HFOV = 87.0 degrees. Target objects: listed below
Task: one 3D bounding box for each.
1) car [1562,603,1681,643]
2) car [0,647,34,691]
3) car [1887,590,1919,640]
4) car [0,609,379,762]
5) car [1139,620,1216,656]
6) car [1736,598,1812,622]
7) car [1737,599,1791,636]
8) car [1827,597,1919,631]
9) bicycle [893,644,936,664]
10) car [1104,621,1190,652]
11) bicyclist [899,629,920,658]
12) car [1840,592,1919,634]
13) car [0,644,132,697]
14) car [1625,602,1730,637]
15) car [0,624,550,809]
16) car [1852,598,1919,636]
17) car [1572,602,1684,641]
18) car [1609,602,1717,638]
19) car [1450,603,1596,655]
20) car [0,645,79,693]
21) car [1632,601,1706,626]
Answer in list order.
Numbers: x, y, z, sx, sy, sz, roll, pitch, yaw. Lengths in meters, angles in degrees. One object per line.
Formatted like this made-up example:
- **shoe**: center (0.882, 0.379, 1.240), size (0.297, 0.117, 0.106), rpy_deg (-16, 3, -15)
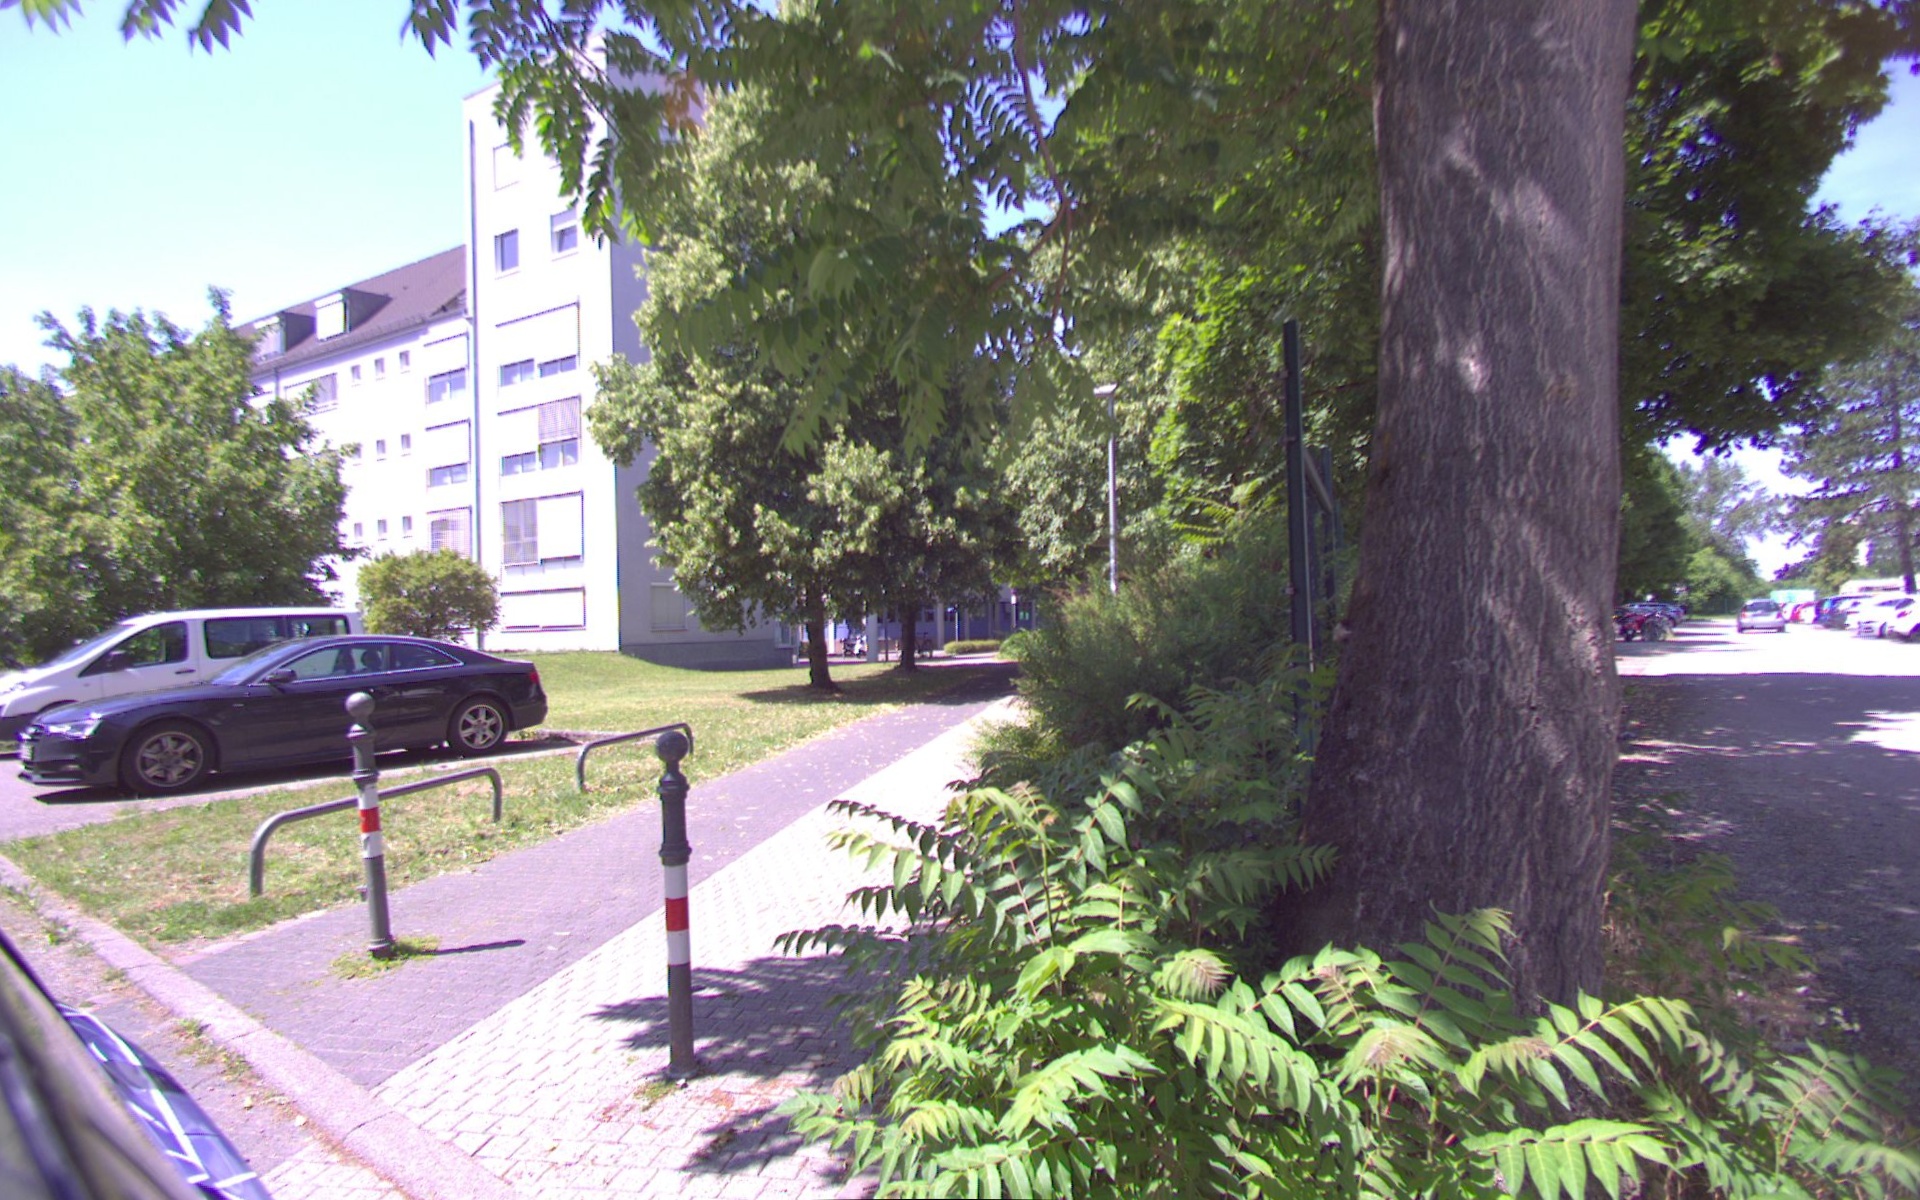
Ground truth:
- **car**: center (24.624, 0.868, 37.804), size (3.616, 1.425, 1.438), rpy_deg (-2, -2, 33)
- **car**: center (-36.541, 2.557, 36.668), size (1.608, 1.581, 4.179), rpy_deg (-2, -1, 32)
- **car**: center (30.248, 0.411, 30.051), size (3.711, 1.505, 1.439), rpy_deg (-2, -1, 31)
- **car**: center (-11.528, 1.108, 14.859), size (2.065, 1.898, 4.799), rpy_deg (-2, -2, 39)
- **car**: center (12.848, 2.218, 59.753), size (3.991, 2.029, 1.976), rpy_deg (-2, -2, 36)
- **car**: center (54.399, 0.705, 67.704), size (3.711, 1.505, 1.439), rpy_deg (-2, -1, 31)
- **car**: center (38.046, 0.817, 47.949), size (1.808, 1.668, 3.876), rpy_deg (-2, -2, 36)
- **car**: center (42.810, 0.651, 46.943), size (3.711, 1.505, 1.439), rpy_deg (-2, -1, 31)
- **bicycle**: center (-1.701, 2.006, 37.810), size (0.733, 0.646, 1.595), rpy_deg (-6, -4, 38)
- **car**: center (10.472, 2.058, 56.876), size (4.332, 1.622, 1.910), rpy_deg (-2, -2, 36)
- **bicyclist**: center (-1.878, 1.610, 37.623), size (0.517, 1.053, 0.515), rpy_deg (-6, -5, 39)
- **car**: center (34.526, 0.462, 36.666), size (3.711, 1.505, 1.439), rpy_deg (-2, -1, 31)
- **car**: center (-30.939, 2.358, 34.137), size (1.608, 1.581, 4.398), rpy_deg (-2, -1, 32)
- **car**: center (31.113, 0.849, 43.996), size (3.616, 1.425, 1.373), rpy_deg (-2, -2, 33)
- **car**: center (-6.797, 1.031, 10.349), size (2.022, 1.390, 4.385), rpy_deg (-5, -3, 39)
- **car**: center (33.063, 0.555, 34.498), size (3.711, 1.287, 1.439), rpy_deg (-2, -1, 31)
- **car**: center (26.282, 0.862, 39.937), size (3.616, 1.425, 1.373), rpy_deg (-2, -2, 33)
- **car**: center (29.343, 0.851, 42.363), size (3.616, 1.425, 1.373), rpy_deg (-2, -2, 33)
- **car**: center (16.162, 0.842, 29.151), size (3.541, 1.432, 1.566), rpy_deg (-2, -1, 31)
- **car**: center (-33.542, 2.432, 35.169), size (1.608, 1.581, 4.179), rpy_deg (-2, -1, 32)
- **car**: center (44.865, 0.874, 64.117), size (3.711, 1.505, 1.439), rpy_deg (-2, -1, 31)
